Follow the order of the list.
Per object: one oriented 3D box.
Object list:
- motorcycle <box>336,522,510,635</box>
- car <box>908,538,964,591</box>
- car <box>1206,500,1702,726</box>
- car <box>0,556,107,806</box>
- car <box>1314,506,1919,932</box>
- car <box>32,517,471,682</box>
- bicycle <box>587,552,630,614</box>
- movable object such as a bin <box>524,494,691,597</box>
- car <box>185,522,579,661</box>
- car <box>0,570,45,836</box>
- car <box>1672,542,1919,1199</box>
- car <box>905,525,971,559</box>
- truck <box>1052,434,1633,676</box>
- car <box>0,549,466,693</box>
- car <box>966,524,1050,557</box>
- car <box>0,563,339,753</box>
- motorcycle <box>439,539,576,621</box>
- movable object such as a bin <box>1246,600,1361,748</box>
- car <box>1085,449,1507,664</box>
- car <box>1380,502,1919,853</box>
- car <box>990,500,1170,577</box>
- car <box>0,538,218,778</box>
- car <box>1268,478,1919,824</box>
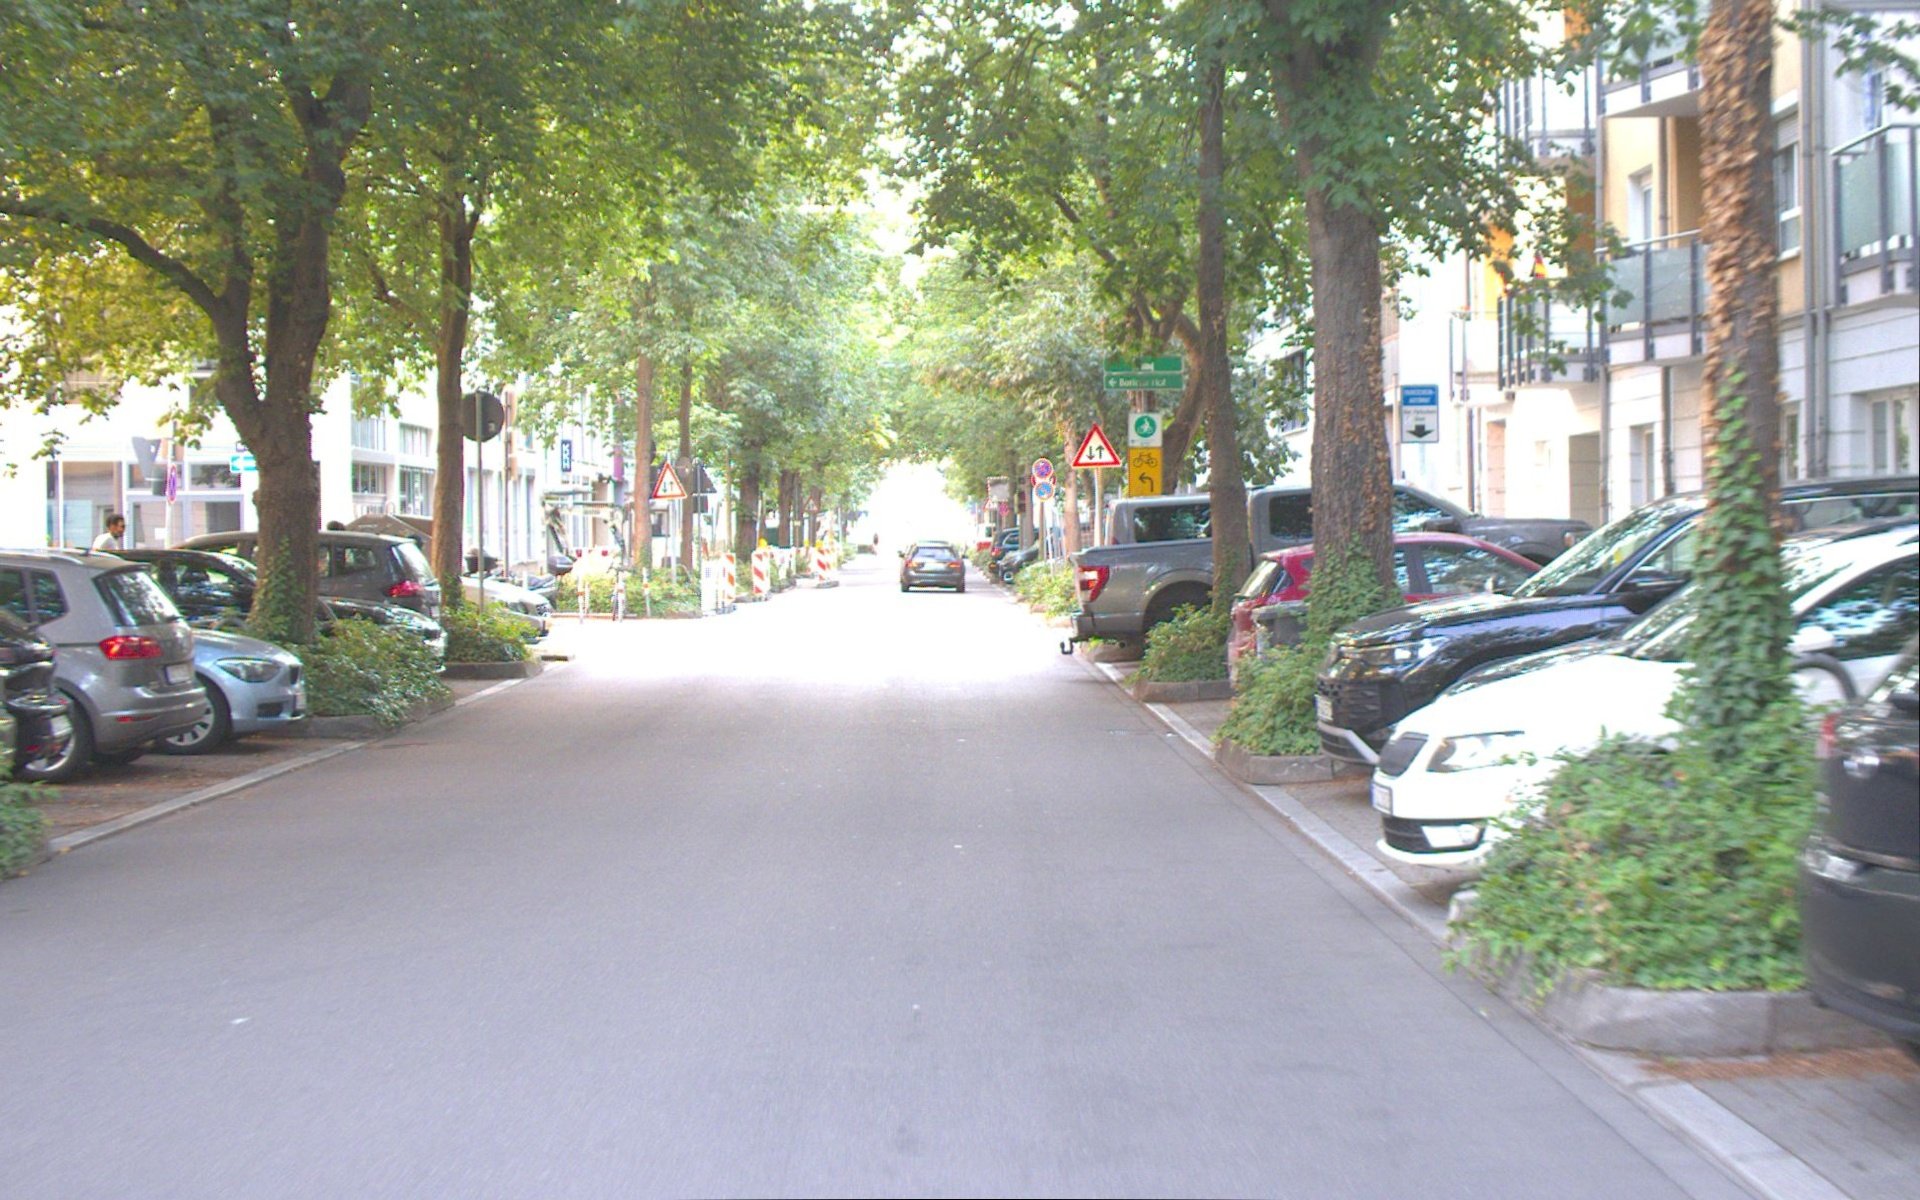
[{"bbox_3d":[-7.191,-0.292,46.077,2.217,1.488,0.691,0,1,1],"label":"motorcycle"},{"bbox_3d":[-0.667,-0.989,94.439,1.500,1.411,3.714,0,1,0],"label":"car"},{"bbox_3d":[3.992,0.106,28.204,3.664,1.543,1.781,-4,0,-2],"label":"car"},{"bbox_3d":[-7.256,0.494,21.579,3.404,1.501,1.665,-1,1,-2],"label":"car"},{"bbox_3d":[3.923,0.393,14.518,4.572,1.546,1.773,-3,1,-1],"label":"car"},{"bbox_3d":[-7.666,-0.026,37.542,4.395,1.679,2.064,1,1,-2],"label":"car"},{"bbox_3d":[-6.617,-0.322,64.769,0.601,1.114,1.800,-1,2,0],"label":"bicycle"},{"bbox_3d":[-8.191,-1.278,80.174,3.665,2.325,2.584,-1,1,-2],"label":"movable object such as a bin"},{"bbox_3d":[-7.089,-0.114,42.514,4.498,1.576,2.055,1,1,0],"label":"car"},{"bbox_3d":[-6.940,0.577,18.911,3.404,1.437,1.594,-1,1,-2],"label":"car"},{"bbox_3d":[4.048,0.504,8.598,3.986,1.469,1.914,-4,1,-4],"label":"car"},{"bbox_3d":[-1.340,-3.599,212.797,3.987,2.007,2.000,-1,1,2],"label":"car"},{"bbox_3d":[4.121,-0.501,37.893,6.004,2.125,2.261,-5,1,0],"label":"truck"},{"bbox_3d":[-7.548,0.195,35.322,4.715,1.419,2.072,0,1,-2],"label":"car"},{"bbox_3d":[2.342,-2.936,168.711,3.986,1.592,2.000,0,1,-3],"label":"car"},{"bbox_3d":[-6.949,0.413,26.348,4.099,1.375,1.747,1,1,-2],"label":"car"},{"bbox_3d":[-8.131,-0.371,61.867,2.373,1.436,0.801,-1,1,-40],"label":"motorcycle"},{"bbox_3d":[2.530,0.540,25.379,0.774,1.064,0.589,-1,1,-1],"label":"movable object such as a bin"},{"bbox_3d":[3.891,-0.517,40.465,4.620,2.125,2.037,-4,1,0],"label":"car"},{"bbox_3d":[4.221,0.310,17.167,3.987,1.520,1.727,-3,1,2],"label":"car"},{"bbox_3d":[3.343,-1.727,96.710,4.971,2.080,1.738,-1,1,0],"label":"car"},{"bbox_3d":[-7.048,0.382,23.932,3.404,1.604,1.761,-1,1,-2],"label":"car"},{"bbox_3d":[4.183,0.226,19.840,4.382,1.698,1.896,-3,1,-8],"label":"car"}]
